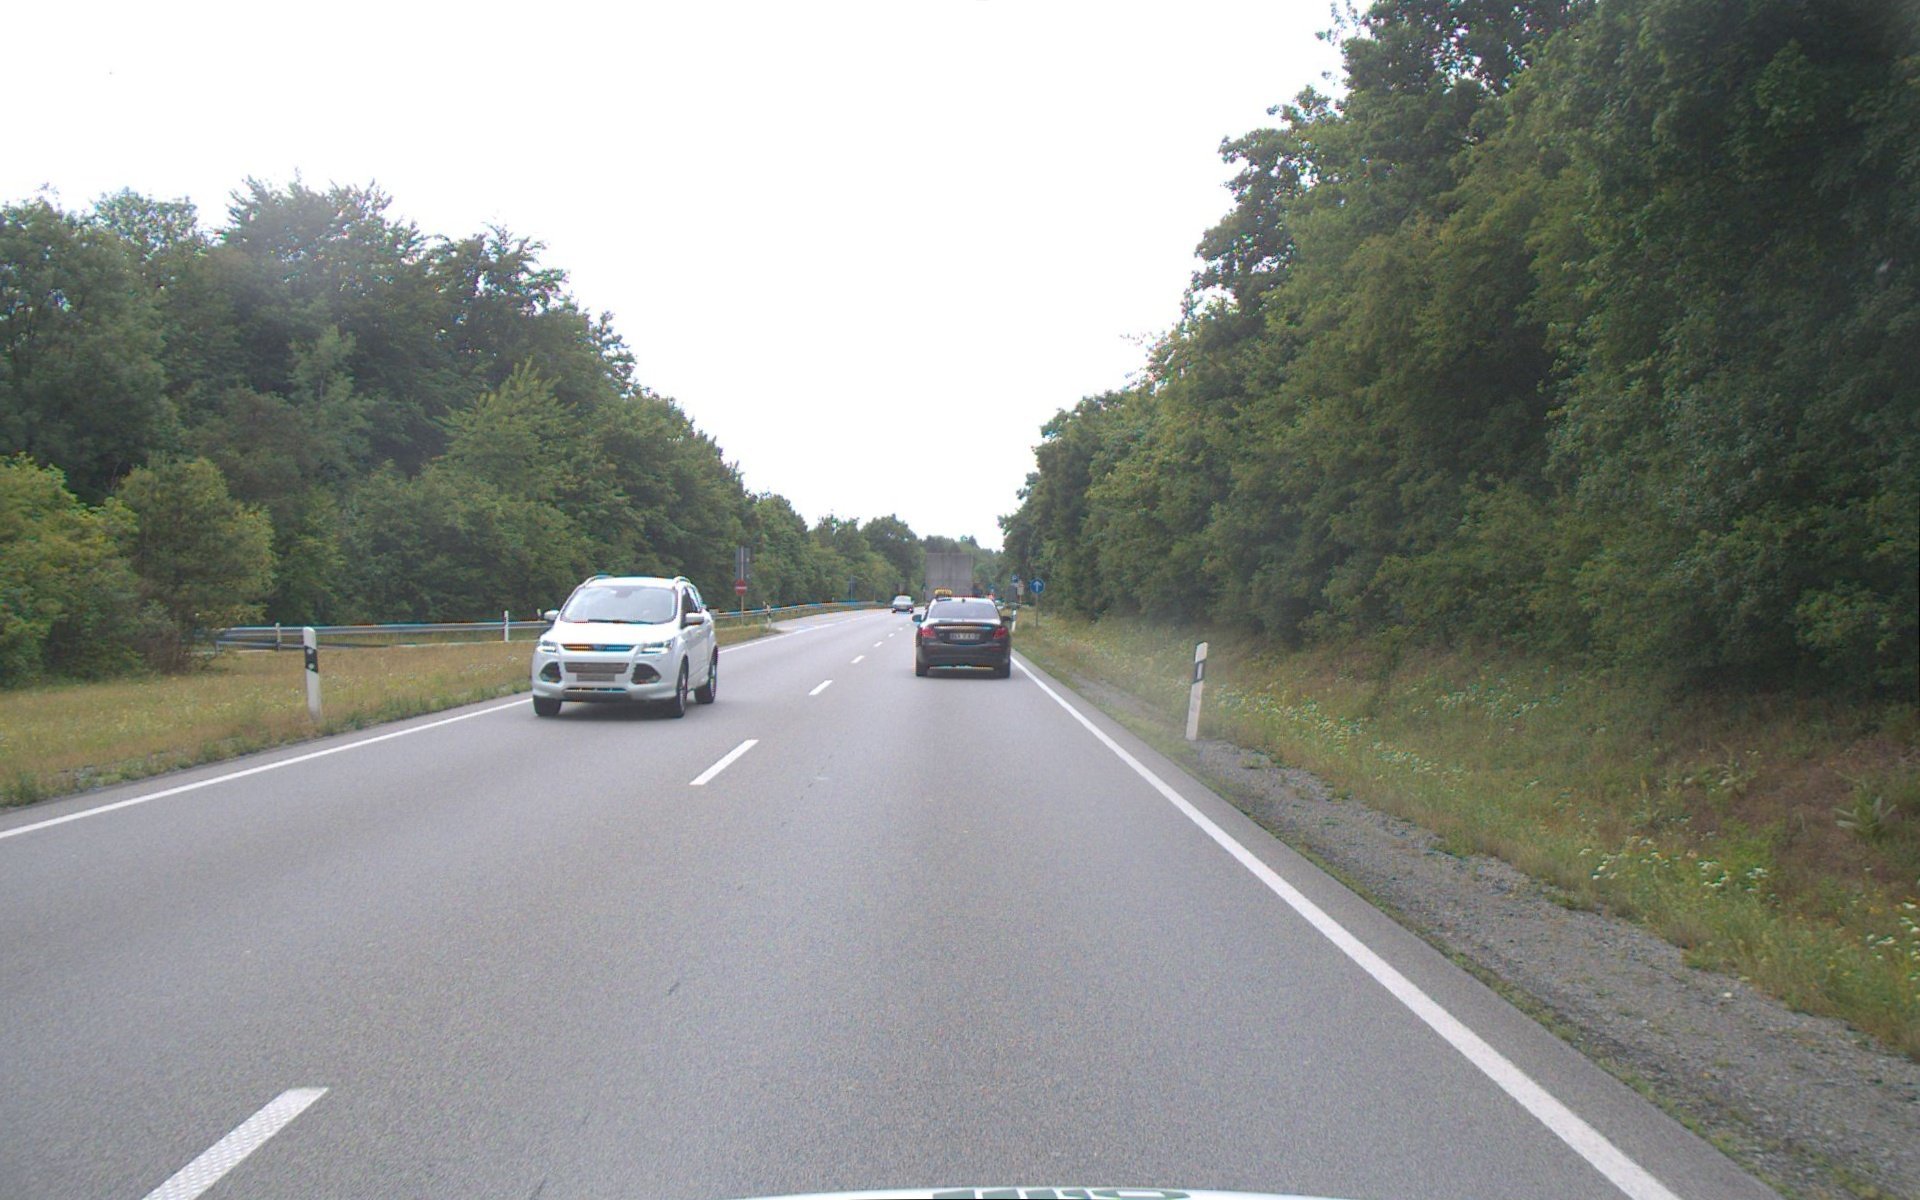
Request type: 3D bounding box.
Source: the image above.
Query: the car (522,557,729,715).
[{"bbox_3d":[-4.215,0.419,21.561,1.874,1.811,4.611,1,0,-2],"label":"car"}]

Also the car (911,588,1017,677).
[{"bbox_3d":[0.017,0.588,32.054,1.756,1.579,3.997,1,0,-4],"label":"car"}]

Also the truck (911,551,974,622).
[{"bbox_3d":[-0.911,-0.701,91.839,3.214,3.675,11.399,1,0,0],"label":"truck"}]

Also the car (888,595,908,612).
[{"bbox_3d":[-5.452,0.290,145.421,1.772,1.467,4.445,1,0,-2],"label":"car"}]
